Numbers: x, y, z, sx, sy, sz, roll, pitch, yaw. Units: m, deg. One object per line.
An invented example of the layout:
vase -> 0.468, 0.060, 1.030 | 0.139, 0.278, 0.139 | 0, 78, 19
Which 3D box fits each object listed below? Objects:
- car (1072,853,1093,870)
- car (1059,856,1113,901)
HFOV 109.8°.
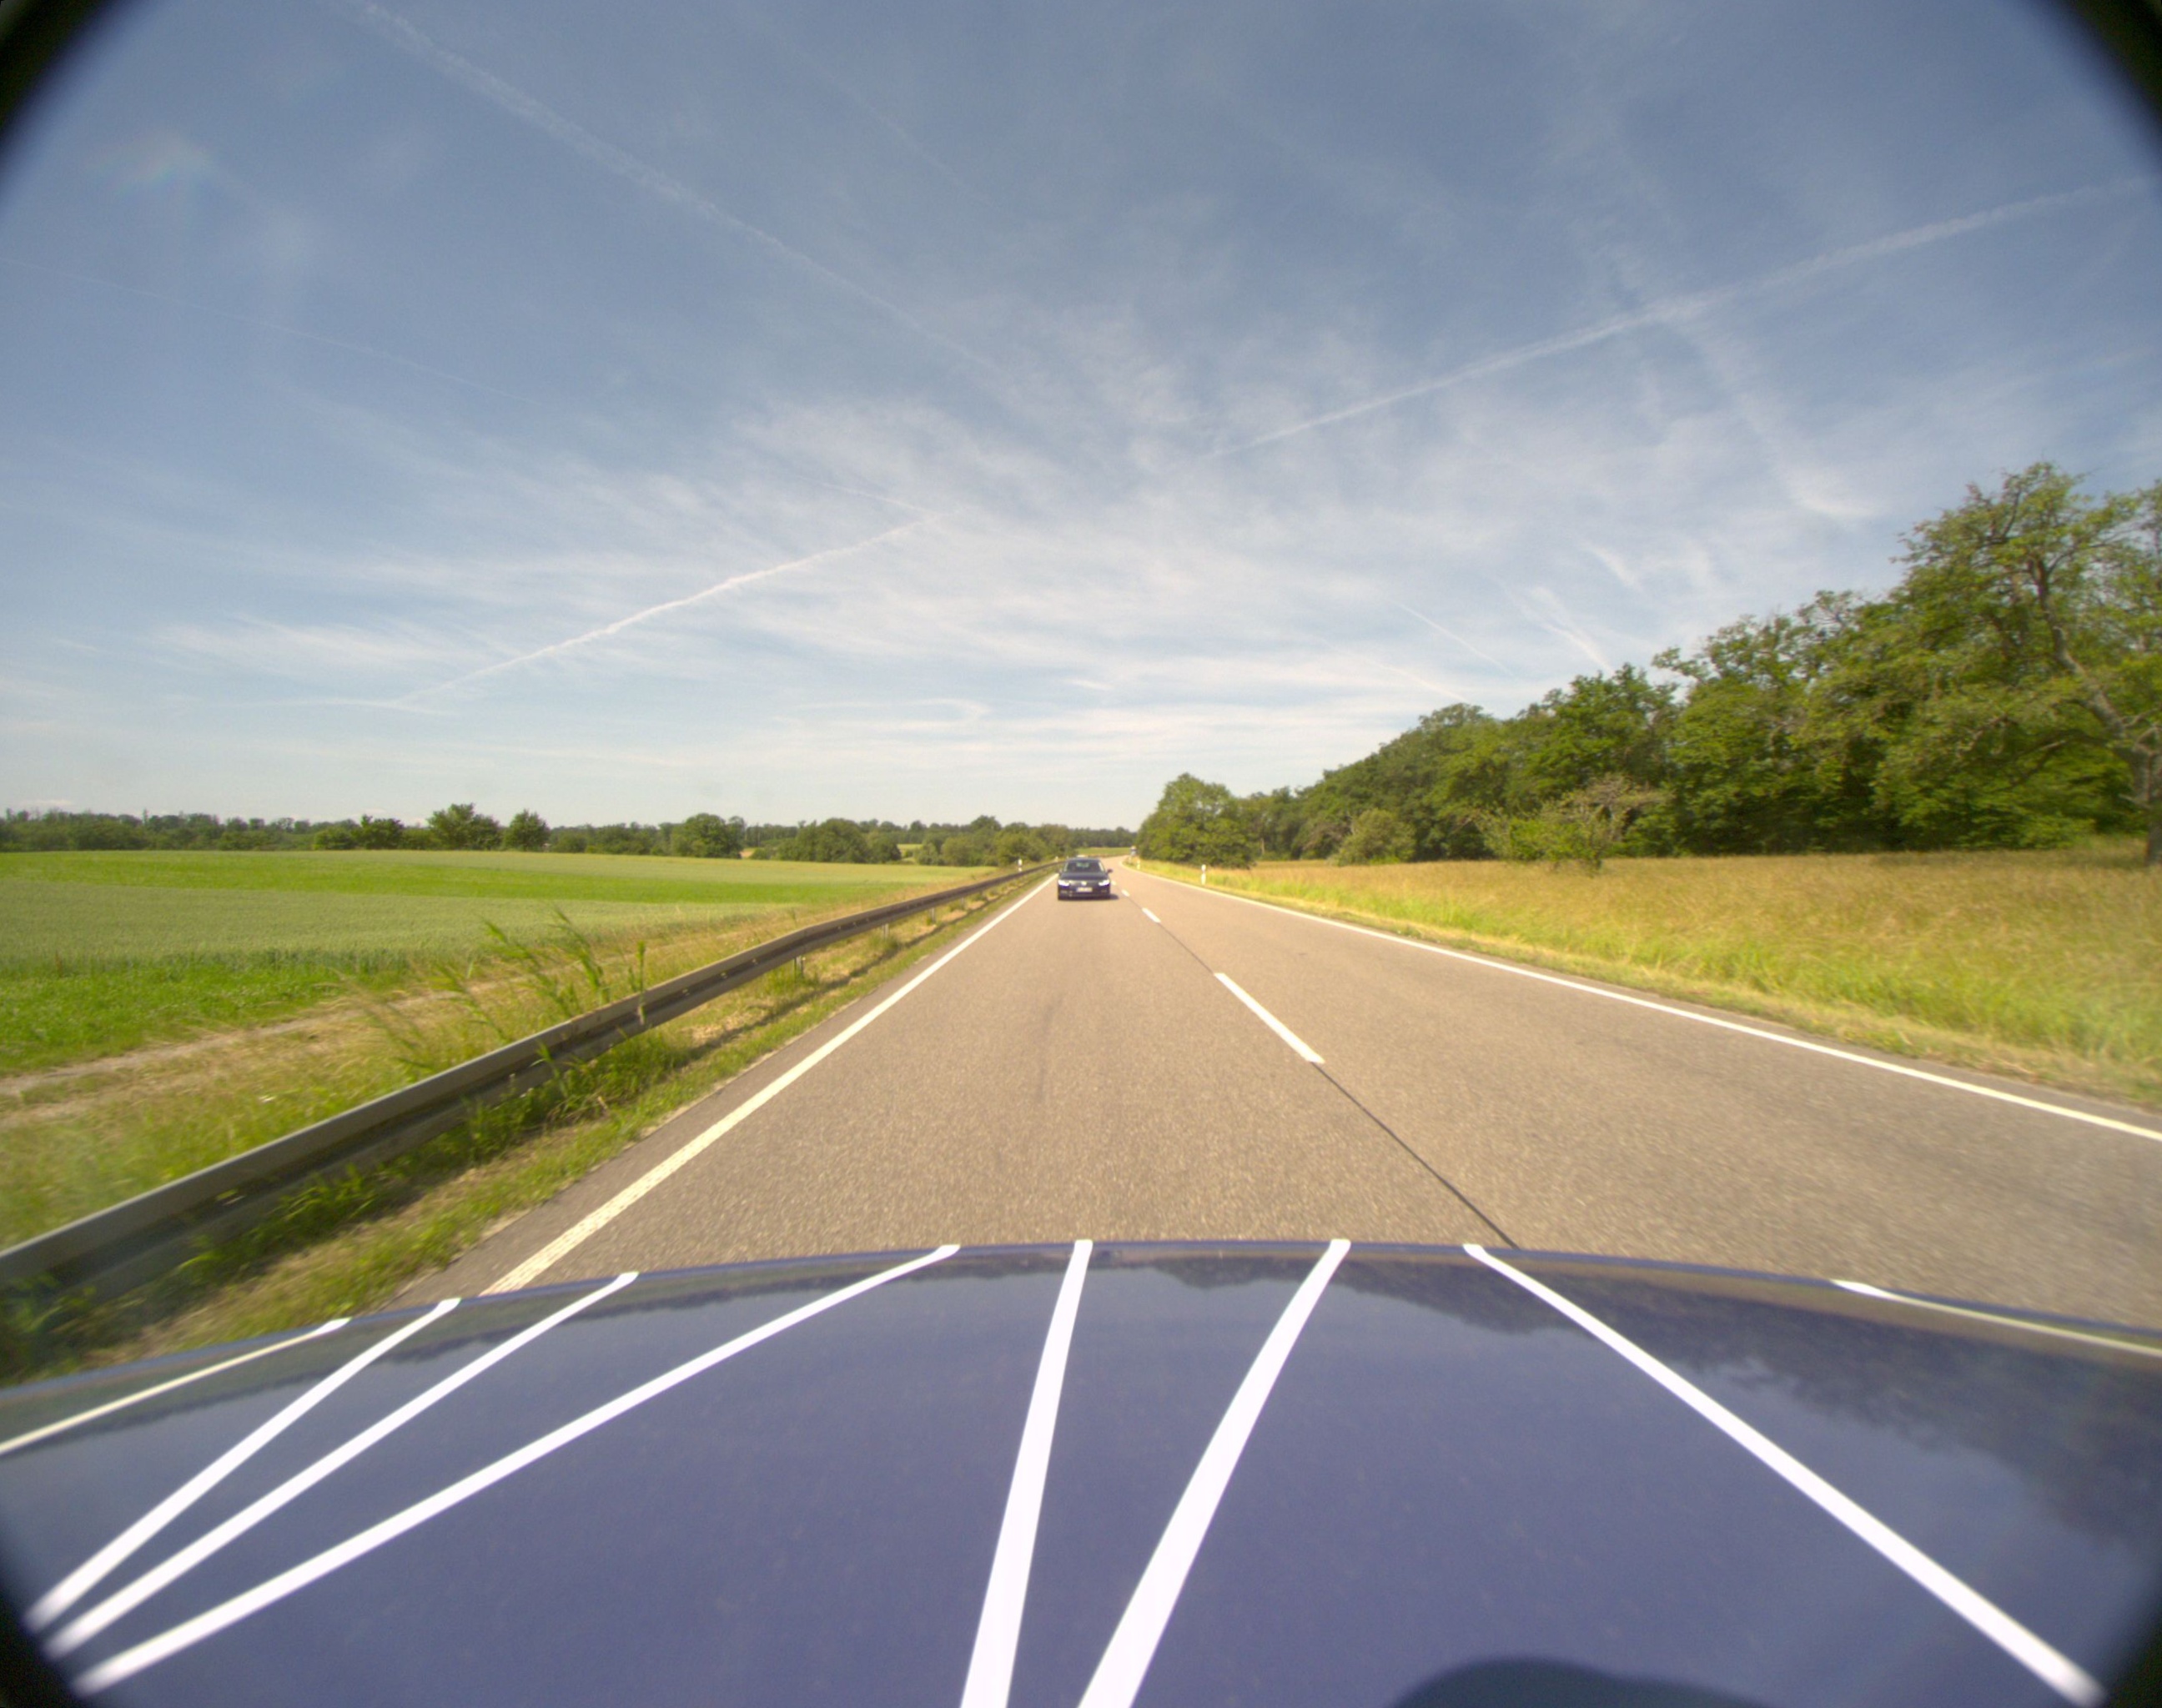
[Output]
car -> 0.115, 0.712, 71.059 | 1.928, 1.501, 4.291 | -1, 0, 0
car -> 0.176, 0.843, 27.792 | 1.822, 1.501, 4.501 | 0, 0, 0
